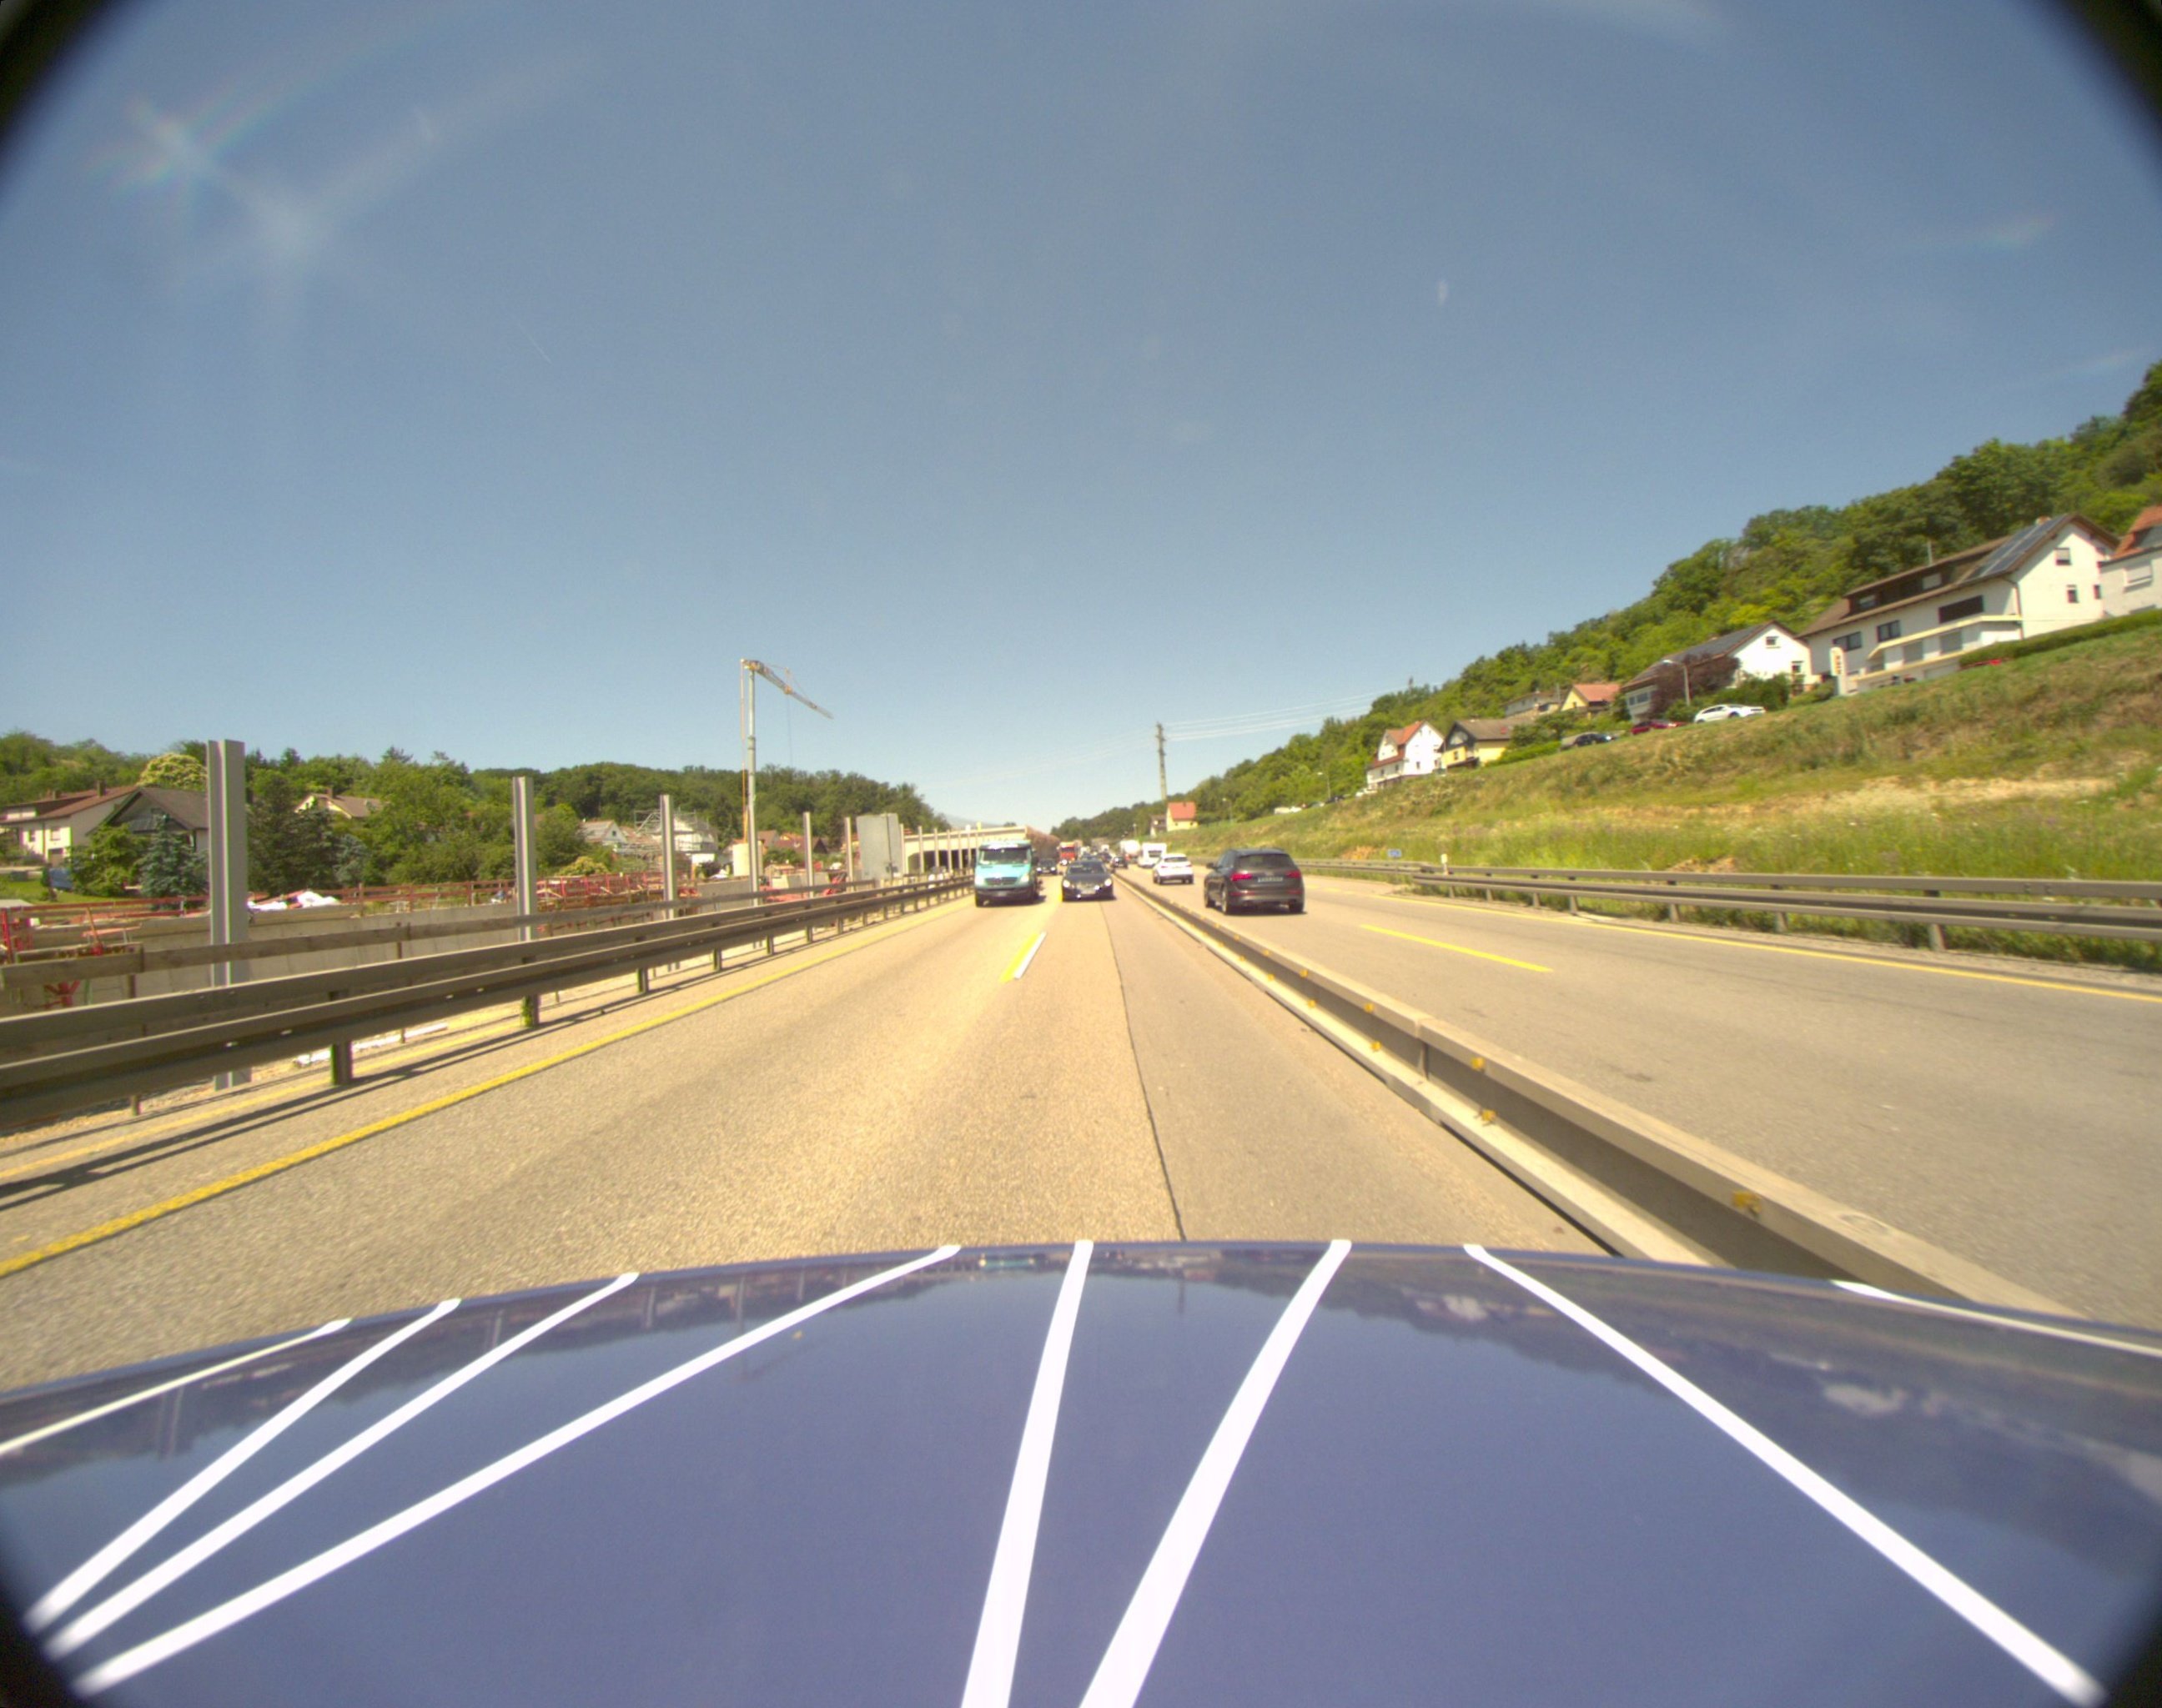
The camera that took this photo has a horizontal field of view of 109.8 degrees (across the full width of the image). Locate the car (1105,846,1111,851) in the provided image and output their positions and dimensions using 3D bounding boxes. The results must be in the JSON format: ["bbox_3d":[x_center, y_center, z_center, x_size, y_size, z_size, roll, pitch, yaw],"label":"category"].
[{"bbox_3d":[9.196,-1.881,256.971,1.780,1.740,3.708,-2,1,1],"label":"car"}]

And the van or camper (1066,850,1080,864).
[{"bbox_3d":[-1.546,0.502,141.521,2.321,2.513,4.527,-4,0,1],"label":"van or camper"}]

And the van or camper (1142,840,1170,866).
[{"bbox_3d":[7.984,-0.100,81.416,2.382,2.634,6.051,-2,0,1],"label":"van or camper"}]

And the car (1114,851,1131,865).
[{"bbox_3d":[4.398,0.425,80.994,1.660,1.420,3.176,-3,0,1],"label":"car"}]

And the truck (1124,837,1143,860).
[{"bbox_3d":[7.999,-0.826,116.889,2.385,3.412,9.305,-1,0,1],"label":"truck"}]

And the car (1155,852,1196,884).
[{"bbox_3d":[4.814,0.668,39.151,1.677,1.467,4.541,-3,0,3],"label":"car"}]

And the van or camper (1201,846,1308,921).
[{"bbox_3d":[4.304,0.671,19.412,1.832,1.658,3.888,-2,0,1],"label":"van or camper"}]

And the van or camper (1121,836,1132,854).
[{"bbox_3d":[7.603,-1.486,127.379,1.566,2.745,5.181,-4,0,1],"label":"van or camper"}]

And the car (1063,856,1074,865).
[{"bbox_3d":[-2.014,0.985,124.344,1.679,1.346,3.486,-4,0,1],"label":"car"}]

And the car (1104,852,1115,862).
[{"bbox_3d":[4.690,0.477,125.986,1.601,1.499,3.161,-4,0,1],"label":"car"}]

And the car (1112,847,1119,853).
[{"bbox_3d":[9.110,-1.037,202.177,1.780,1.652,3.576,-2,1,0],"label":"car"}]

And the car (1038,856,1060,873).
[{"bbox_3d":[-2.711,0.861,64.677,1.611,1.324,3.496,-1,0,1],"label":"car"}]

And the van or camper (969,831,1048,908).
[{"bbox_3d":[-2.548,0.501,28.781,2.097,2.458,7.671,-2,0,1],"label":"van or camper"}]

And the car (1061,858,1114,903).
[{"bbox_3d":[0.253,0.908,27.808,1.747,1.420,4.000,-3,0,1],"label":"car"}]
